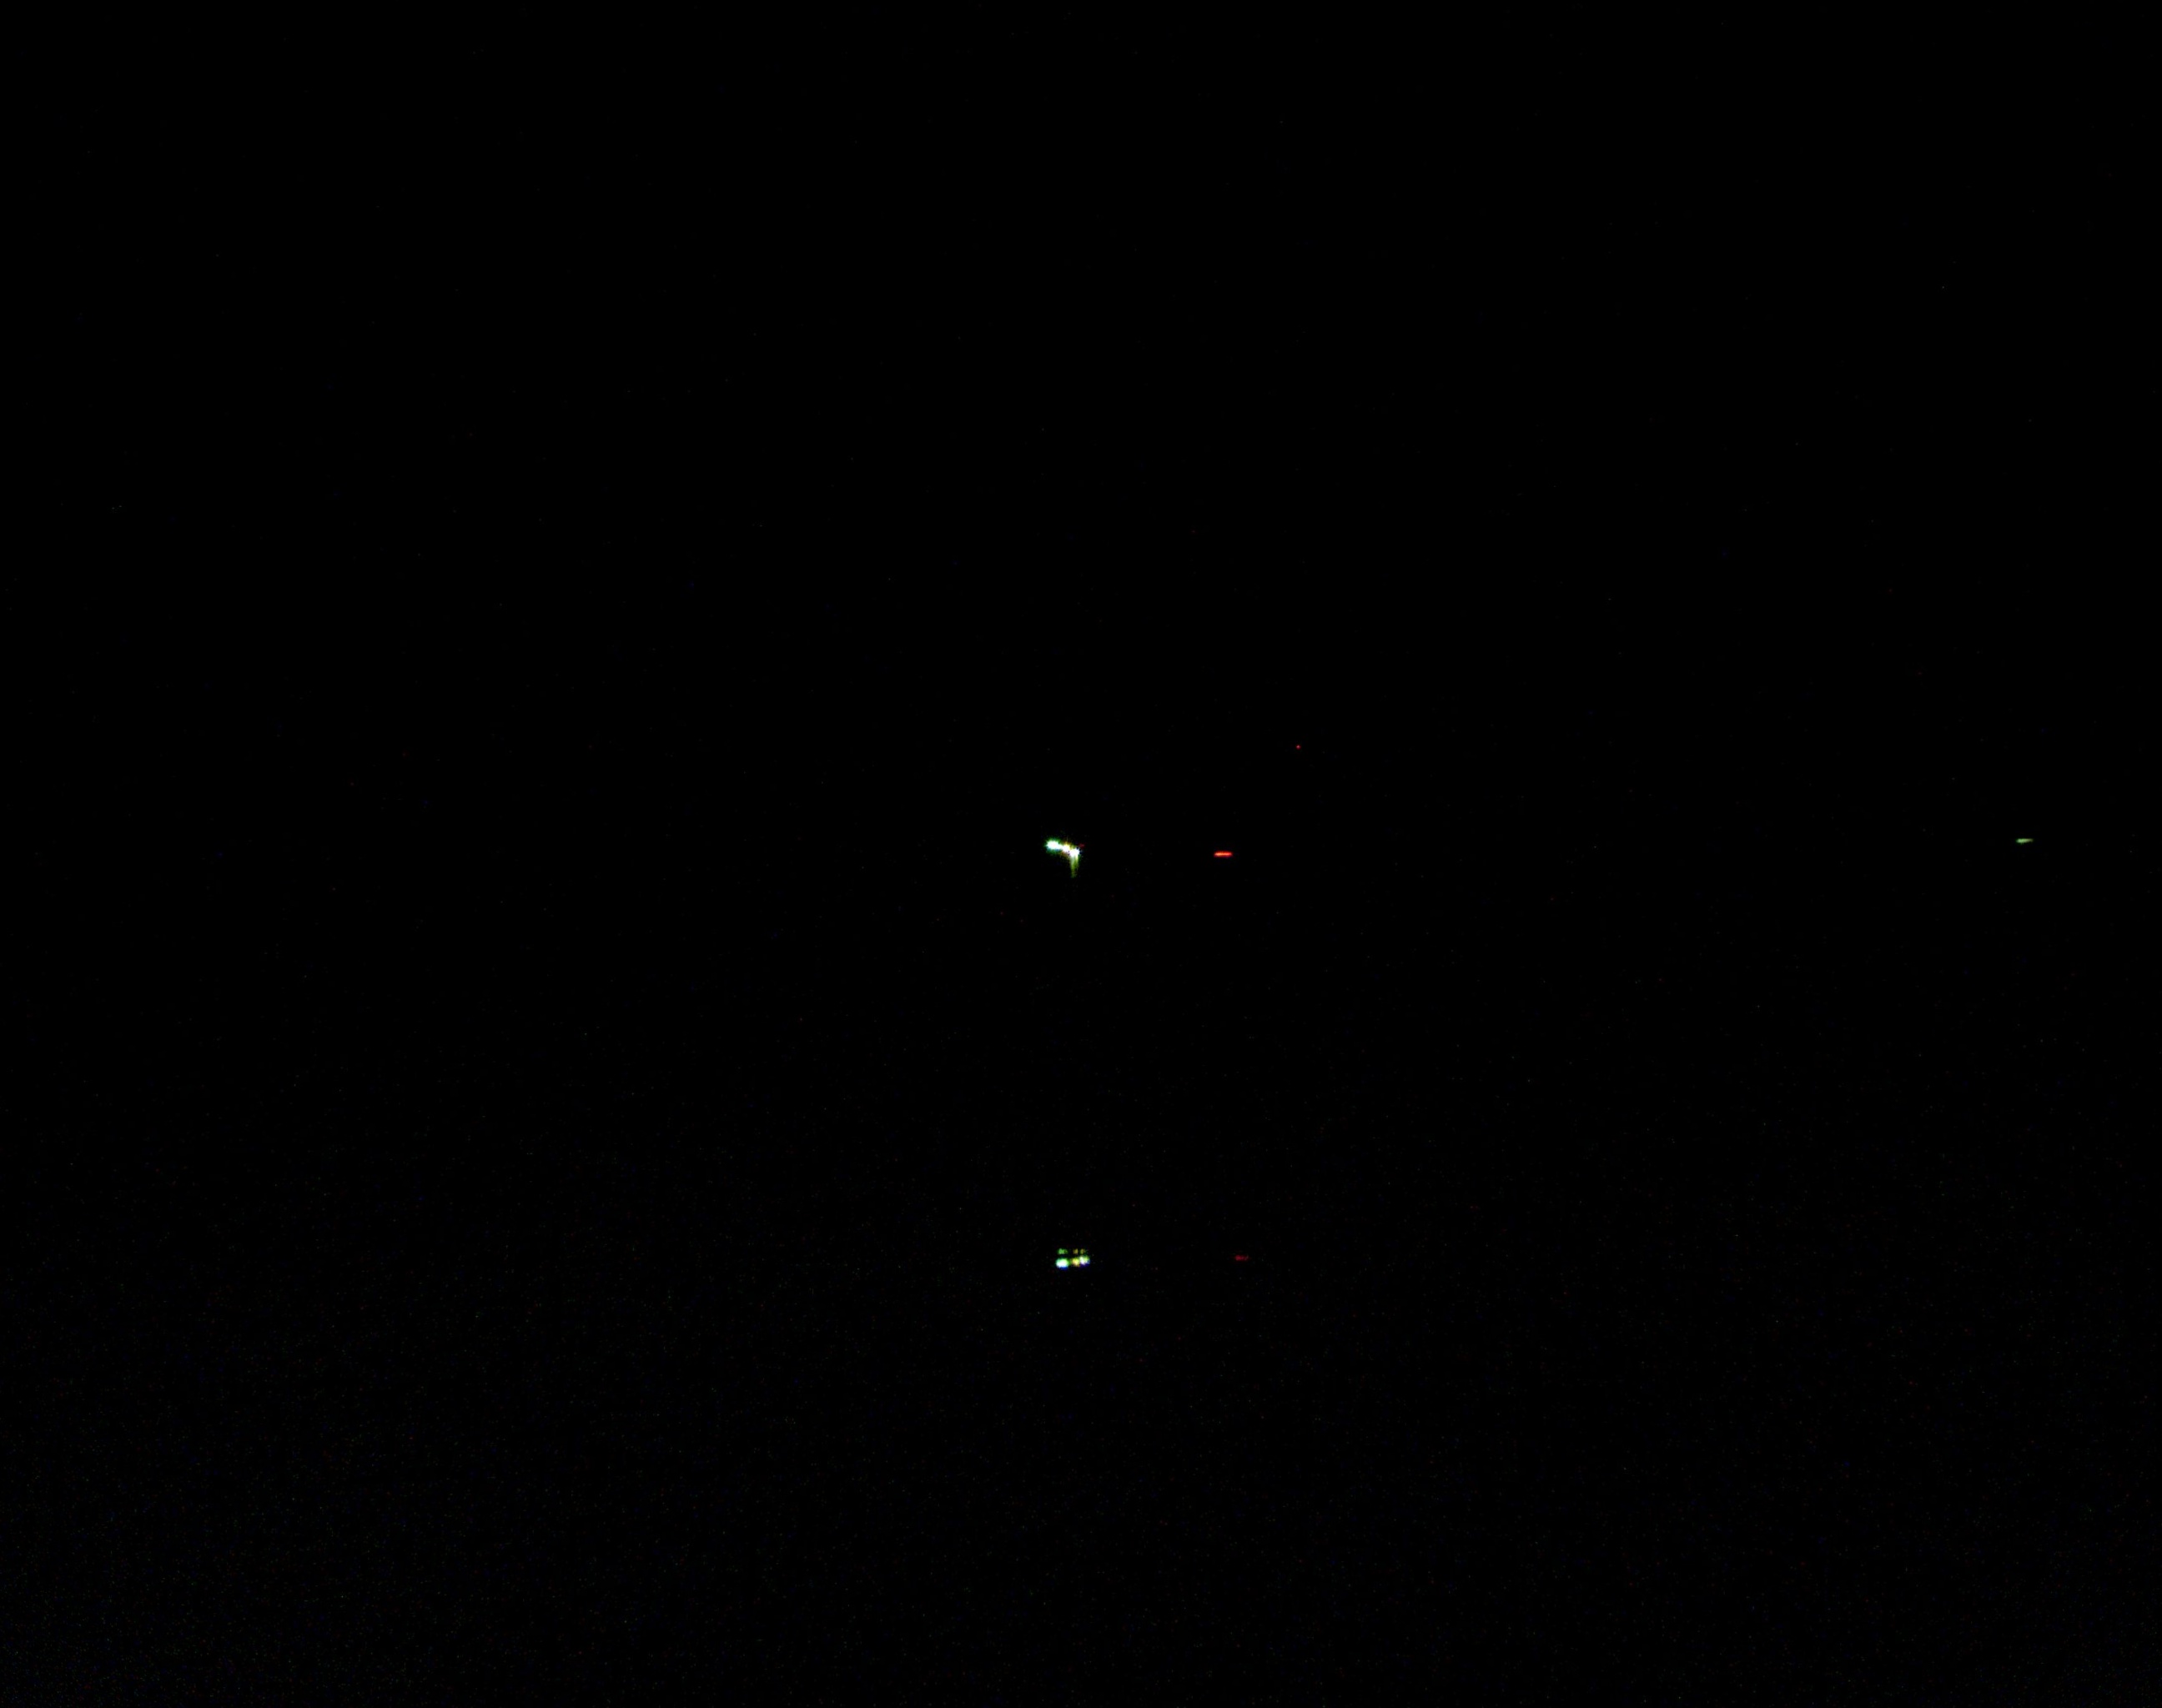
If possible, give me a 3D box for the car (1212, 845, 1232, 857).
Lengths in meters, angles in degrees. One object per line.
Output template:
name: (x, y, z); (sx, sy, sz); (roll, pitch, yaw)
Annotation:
car: (20.405, -0.441, 110.092); (1.998, 1.735, 5.071); (-2, 1, 1)
